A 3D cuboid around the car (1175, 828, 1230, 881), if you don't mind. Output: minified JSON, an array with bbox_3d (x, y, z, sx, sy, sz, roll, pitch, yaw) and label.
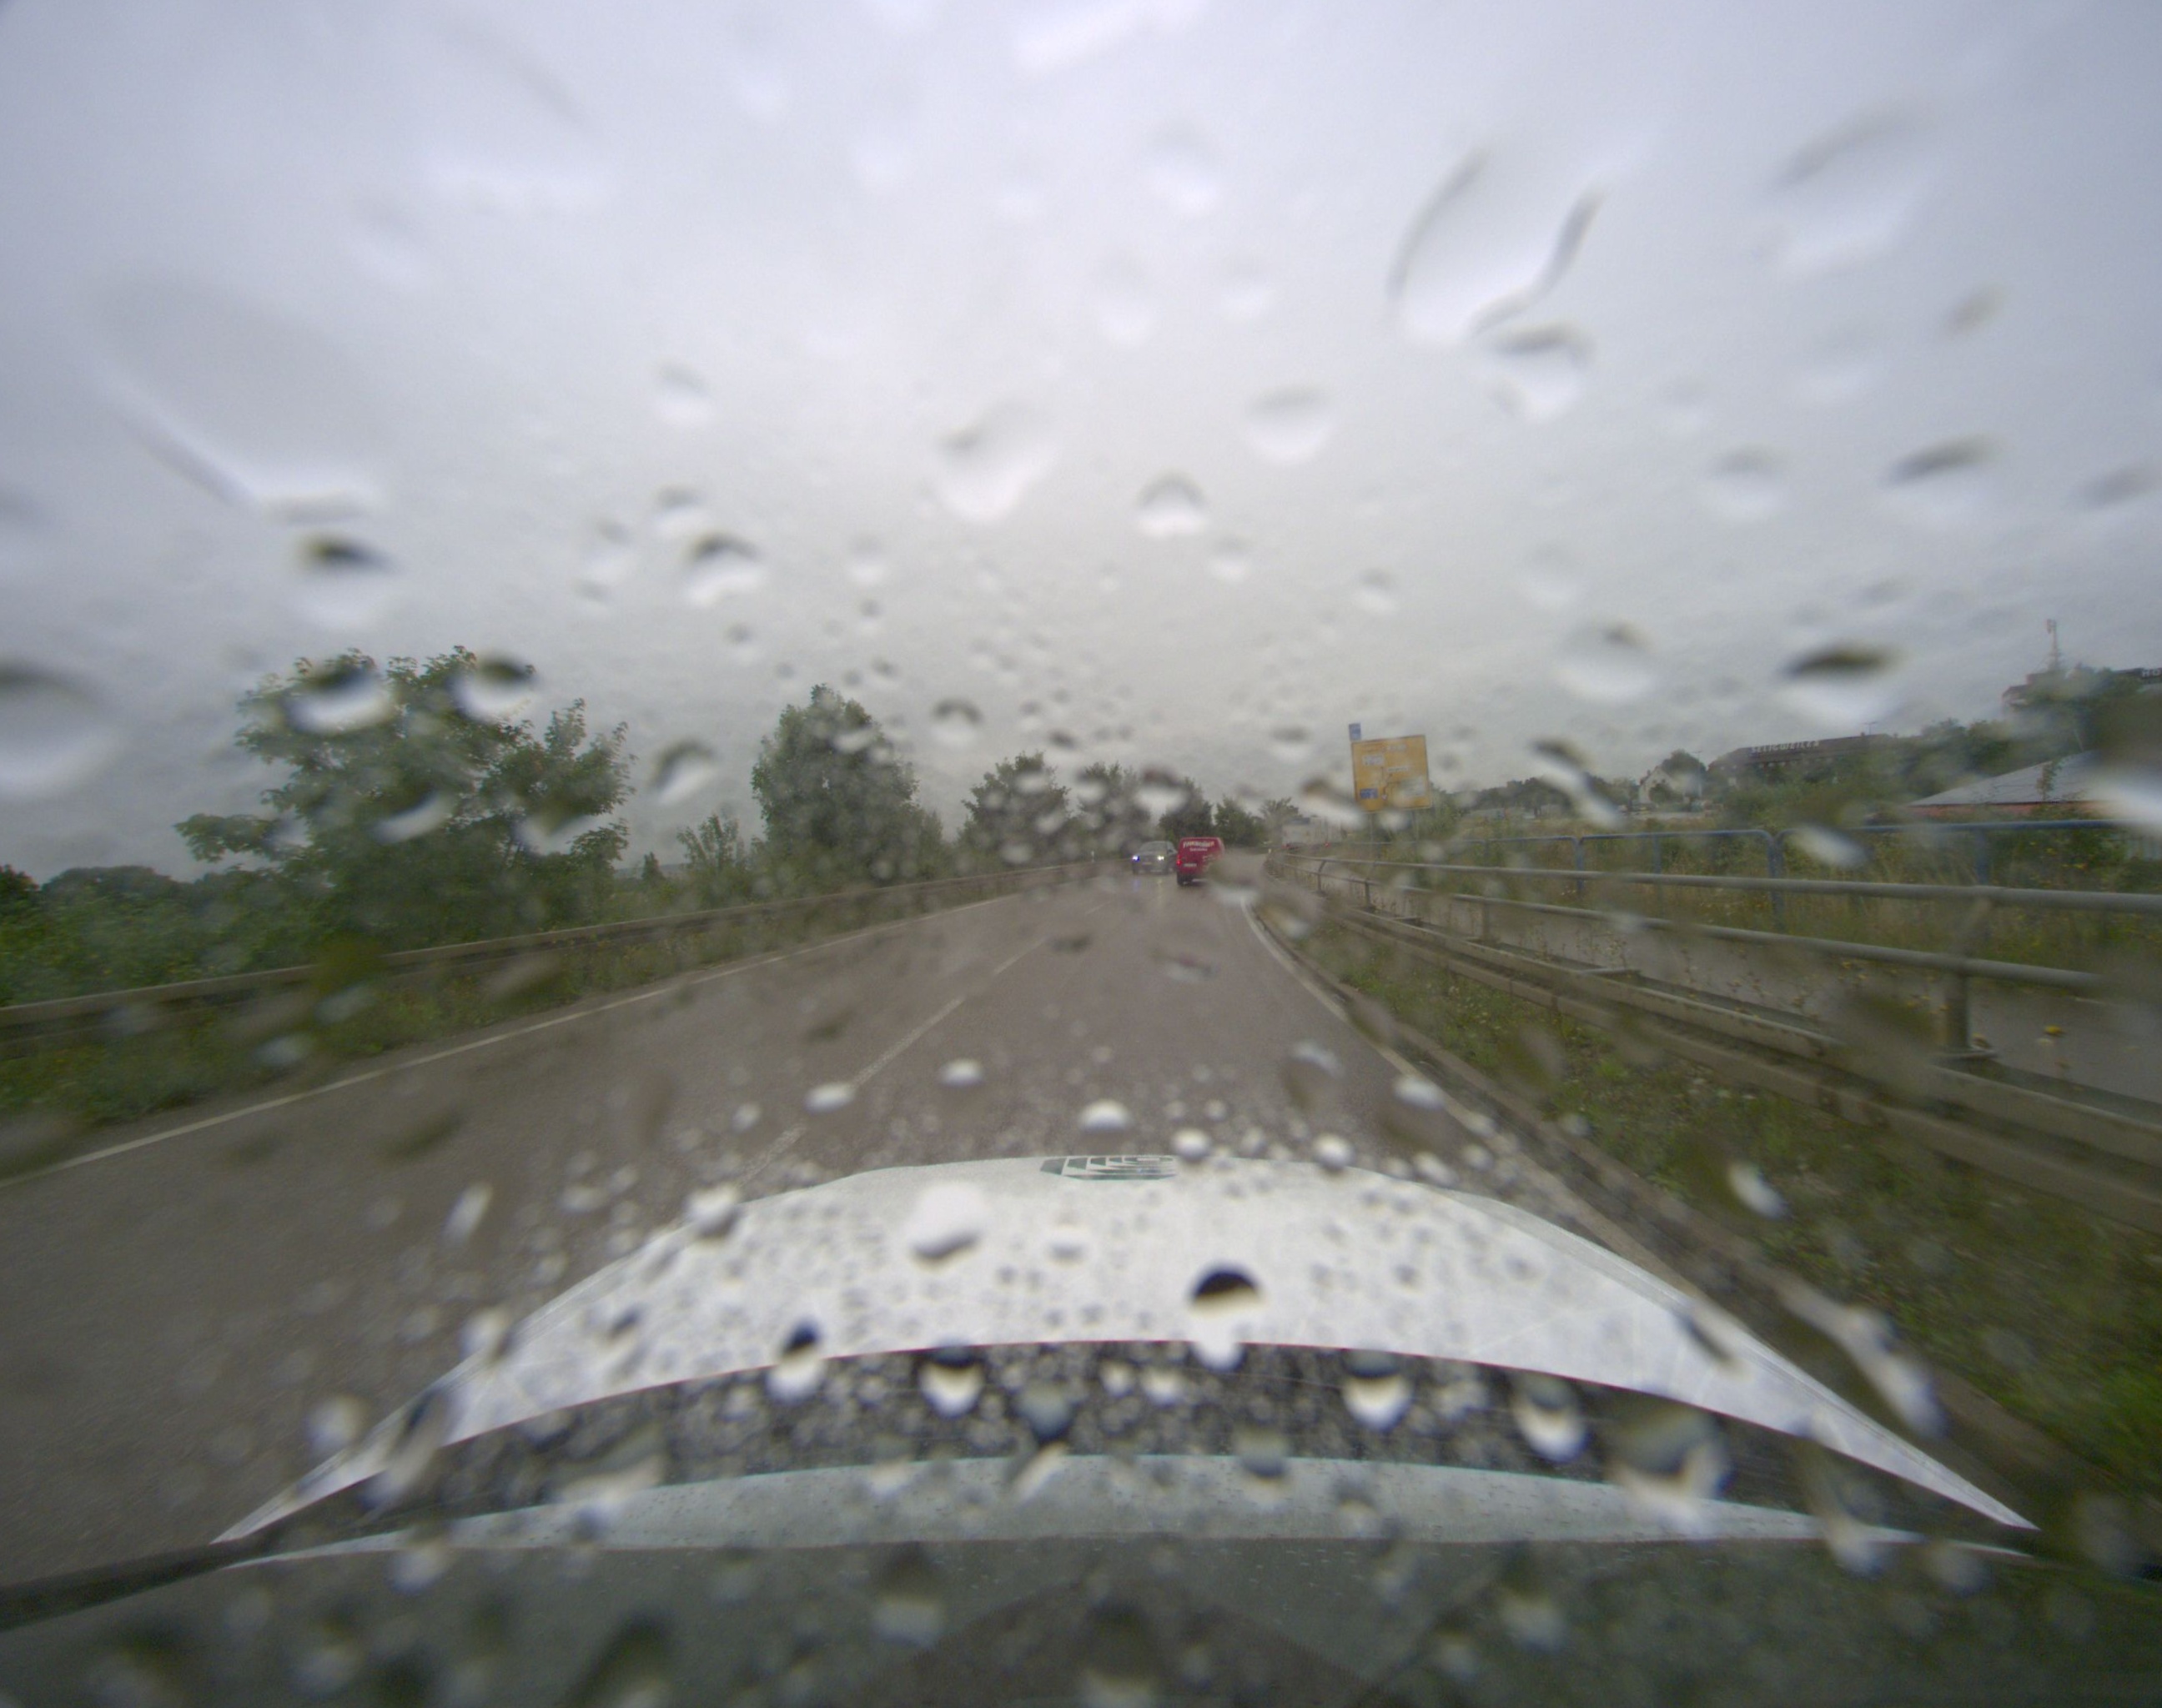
[{"bbox_3d":[5.039,-0.033,33.557,1.981,1.925,4.155,-4,1,10],"label":"car"}]

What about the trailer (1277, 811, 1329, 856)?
[{"bbox_3d":[21.047,-1.860,76.866,3.172,3.922,8.791,-1,0,26],"label":"trailer"}]

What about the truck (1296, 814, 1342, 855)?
[{"bbox_3d":[24.899,-1.956,84.784,3.172,3.922,8.791,-1,0,26],"label":"truck"}]

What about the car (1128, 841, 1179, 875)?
[{"bbox_3d":[4.069,0.188,44.961,1.978,1.727,4.018,-1,0,17],"label":"car"}]
